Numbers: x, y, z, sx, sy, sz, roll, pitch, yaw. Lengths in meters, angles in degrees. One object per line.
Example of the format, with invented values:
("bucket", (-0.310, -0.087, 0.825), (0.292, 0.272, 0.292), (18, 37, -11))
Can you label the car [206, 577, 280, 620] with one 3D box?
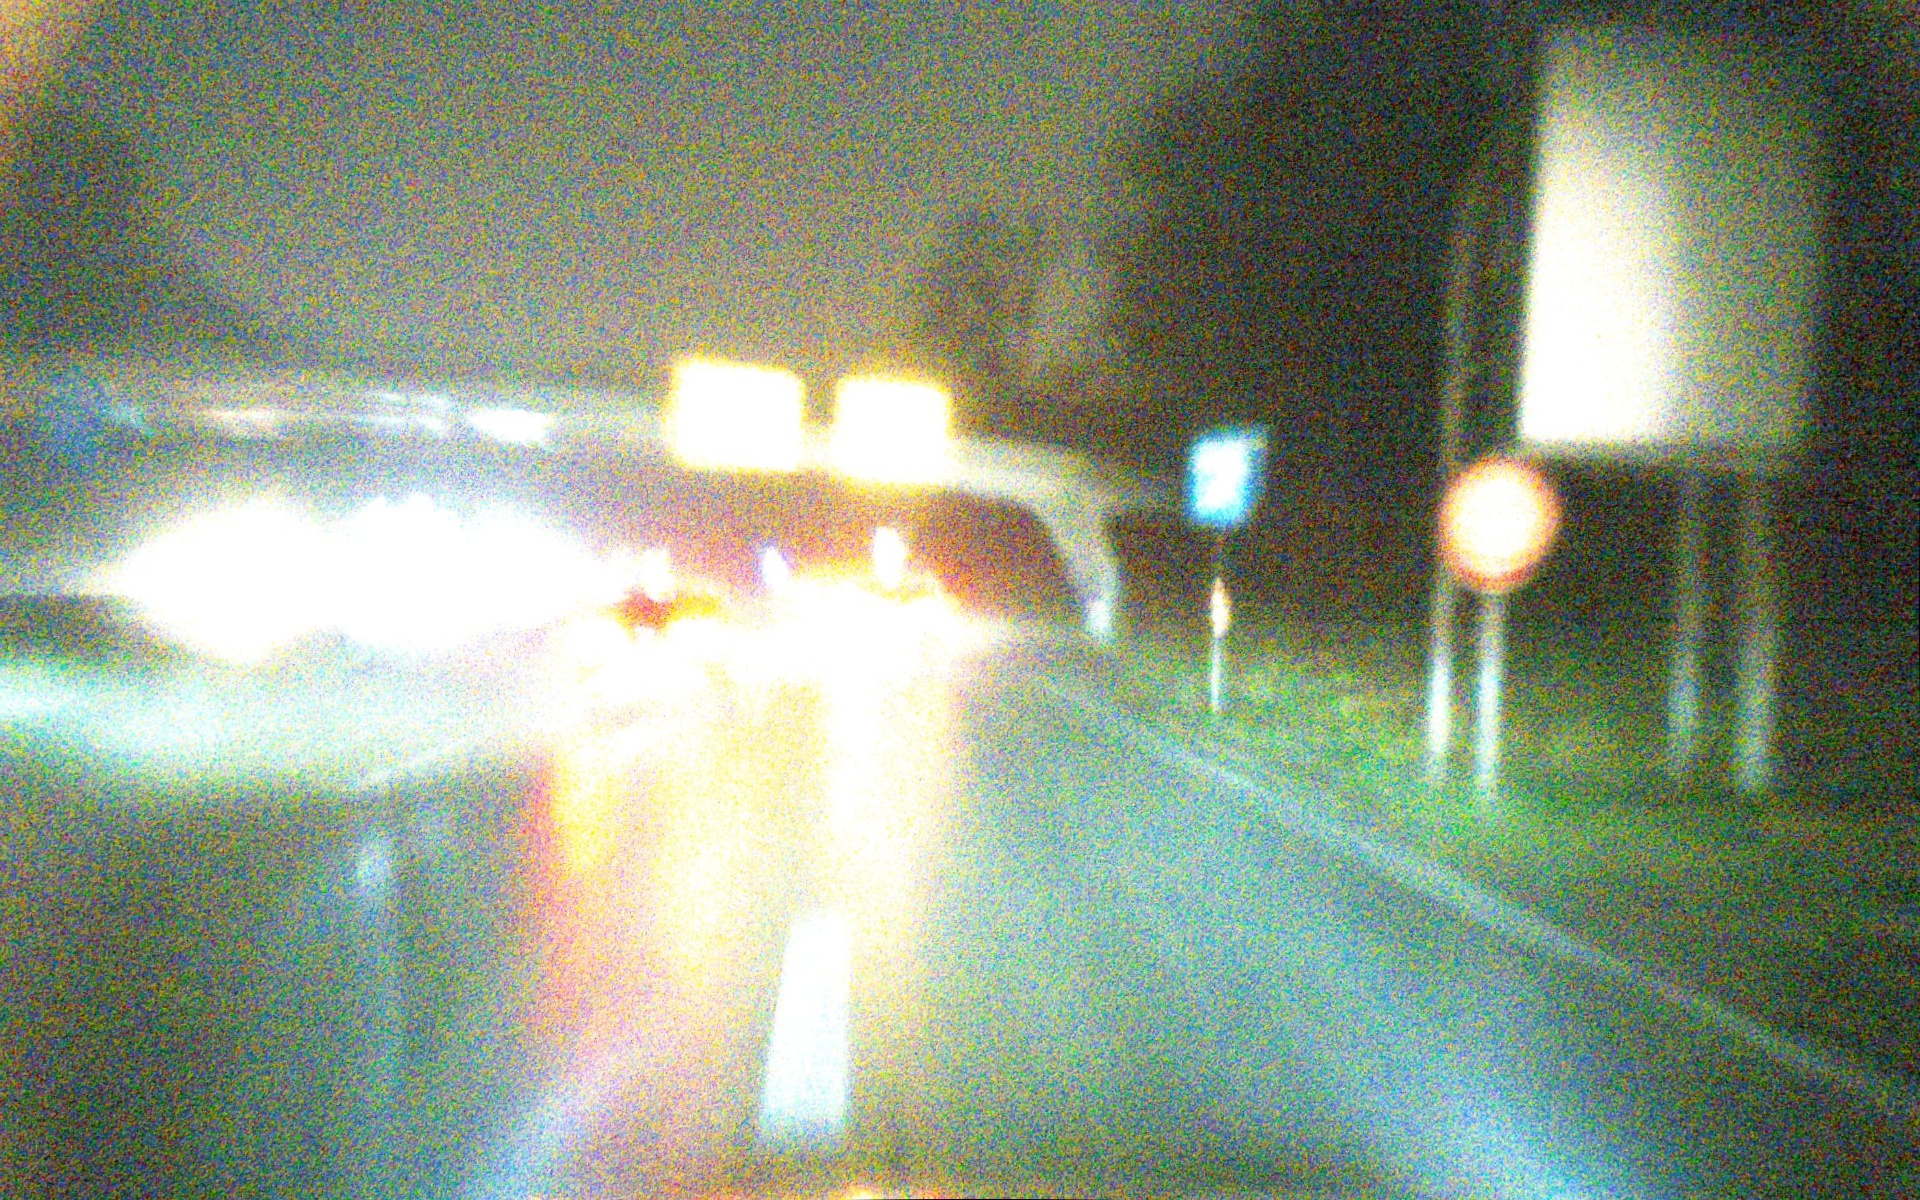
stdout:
("car", (-31.067, -0.042, 71.793), (1.957, 1.758, 3.992), (2, -1, -9))

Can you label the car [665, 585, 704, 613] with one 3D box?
("car", (-16.296, -0.023, 97.943), (1.858, 1.572, 3.997), (2, 0, -4))

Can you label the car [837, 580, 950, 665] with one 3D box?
("car", (-1.185, 0.415, 30.836), (1.922, 1.405, 4.048), (2, -1, -1))

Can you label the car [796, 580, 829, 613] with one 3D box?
("car", (-9.439, -0.193, 106.151), (1.954, 2.049, 3.997), (2, -1, -4))

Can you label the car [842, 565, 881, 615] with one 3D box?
("car", (-4.165, -0.422, 70.226), (1.523, 2.049, 3.998), (2, 0, -3))

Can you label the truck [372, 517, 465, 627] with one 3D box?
("truck", (-23.344, -1.140, 71.559), (2.516, 4.481, 5.842), (2, -1, -7))

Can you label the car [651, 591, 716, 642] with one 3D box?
("car", (-9.131, 0.547, 54.893), (1.856, 1.578, 3.994), (2, -1, -6))
